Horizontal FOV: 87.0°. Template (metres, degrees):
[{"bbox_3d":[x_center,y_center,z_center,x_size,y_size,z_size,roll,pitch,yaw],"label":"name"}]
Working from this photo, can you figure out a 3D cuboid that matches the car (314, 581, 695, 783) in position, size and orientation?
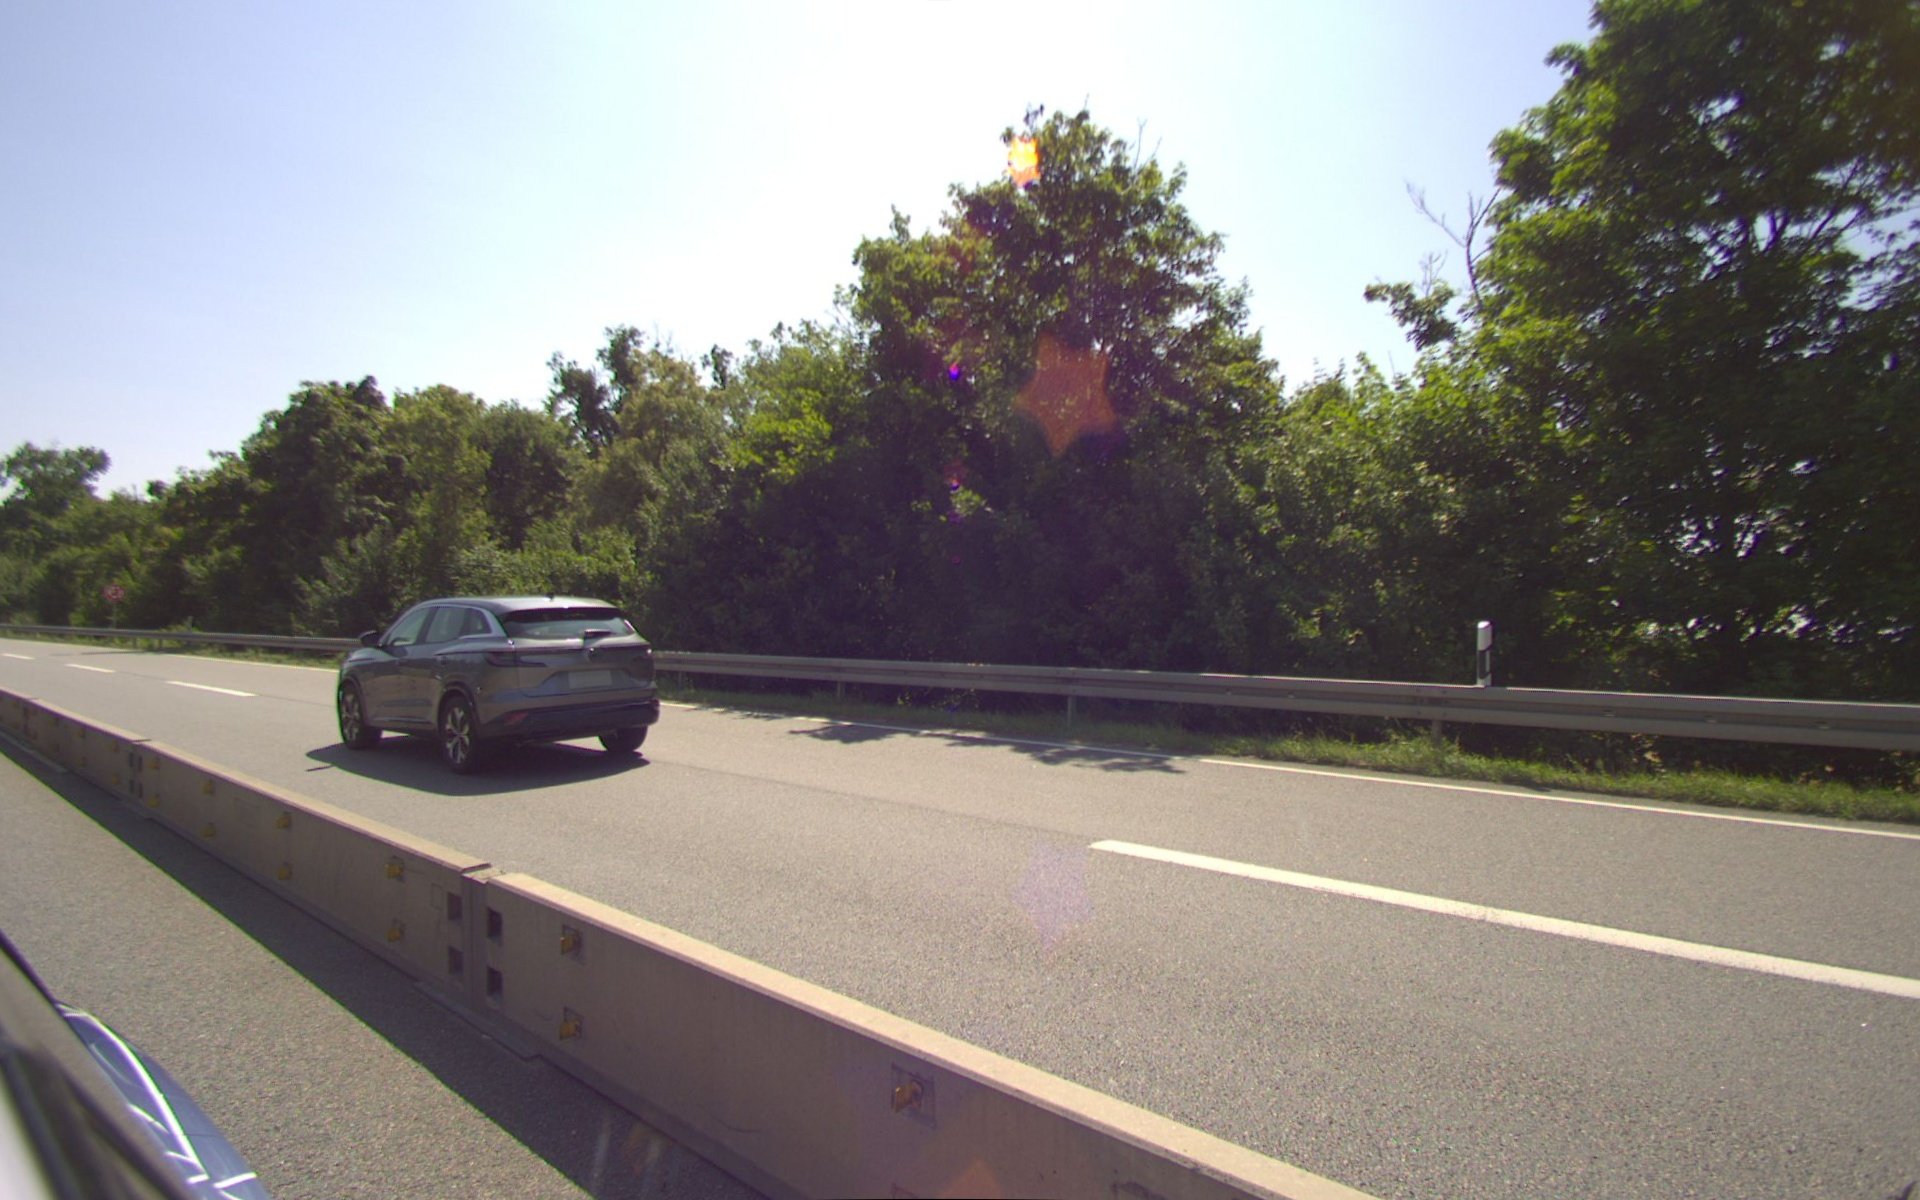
[{"bbox_3d":[-4.809,0.699,10.402,4.380,1.651,1.839,-1,-1,39],"label":"car"}]
